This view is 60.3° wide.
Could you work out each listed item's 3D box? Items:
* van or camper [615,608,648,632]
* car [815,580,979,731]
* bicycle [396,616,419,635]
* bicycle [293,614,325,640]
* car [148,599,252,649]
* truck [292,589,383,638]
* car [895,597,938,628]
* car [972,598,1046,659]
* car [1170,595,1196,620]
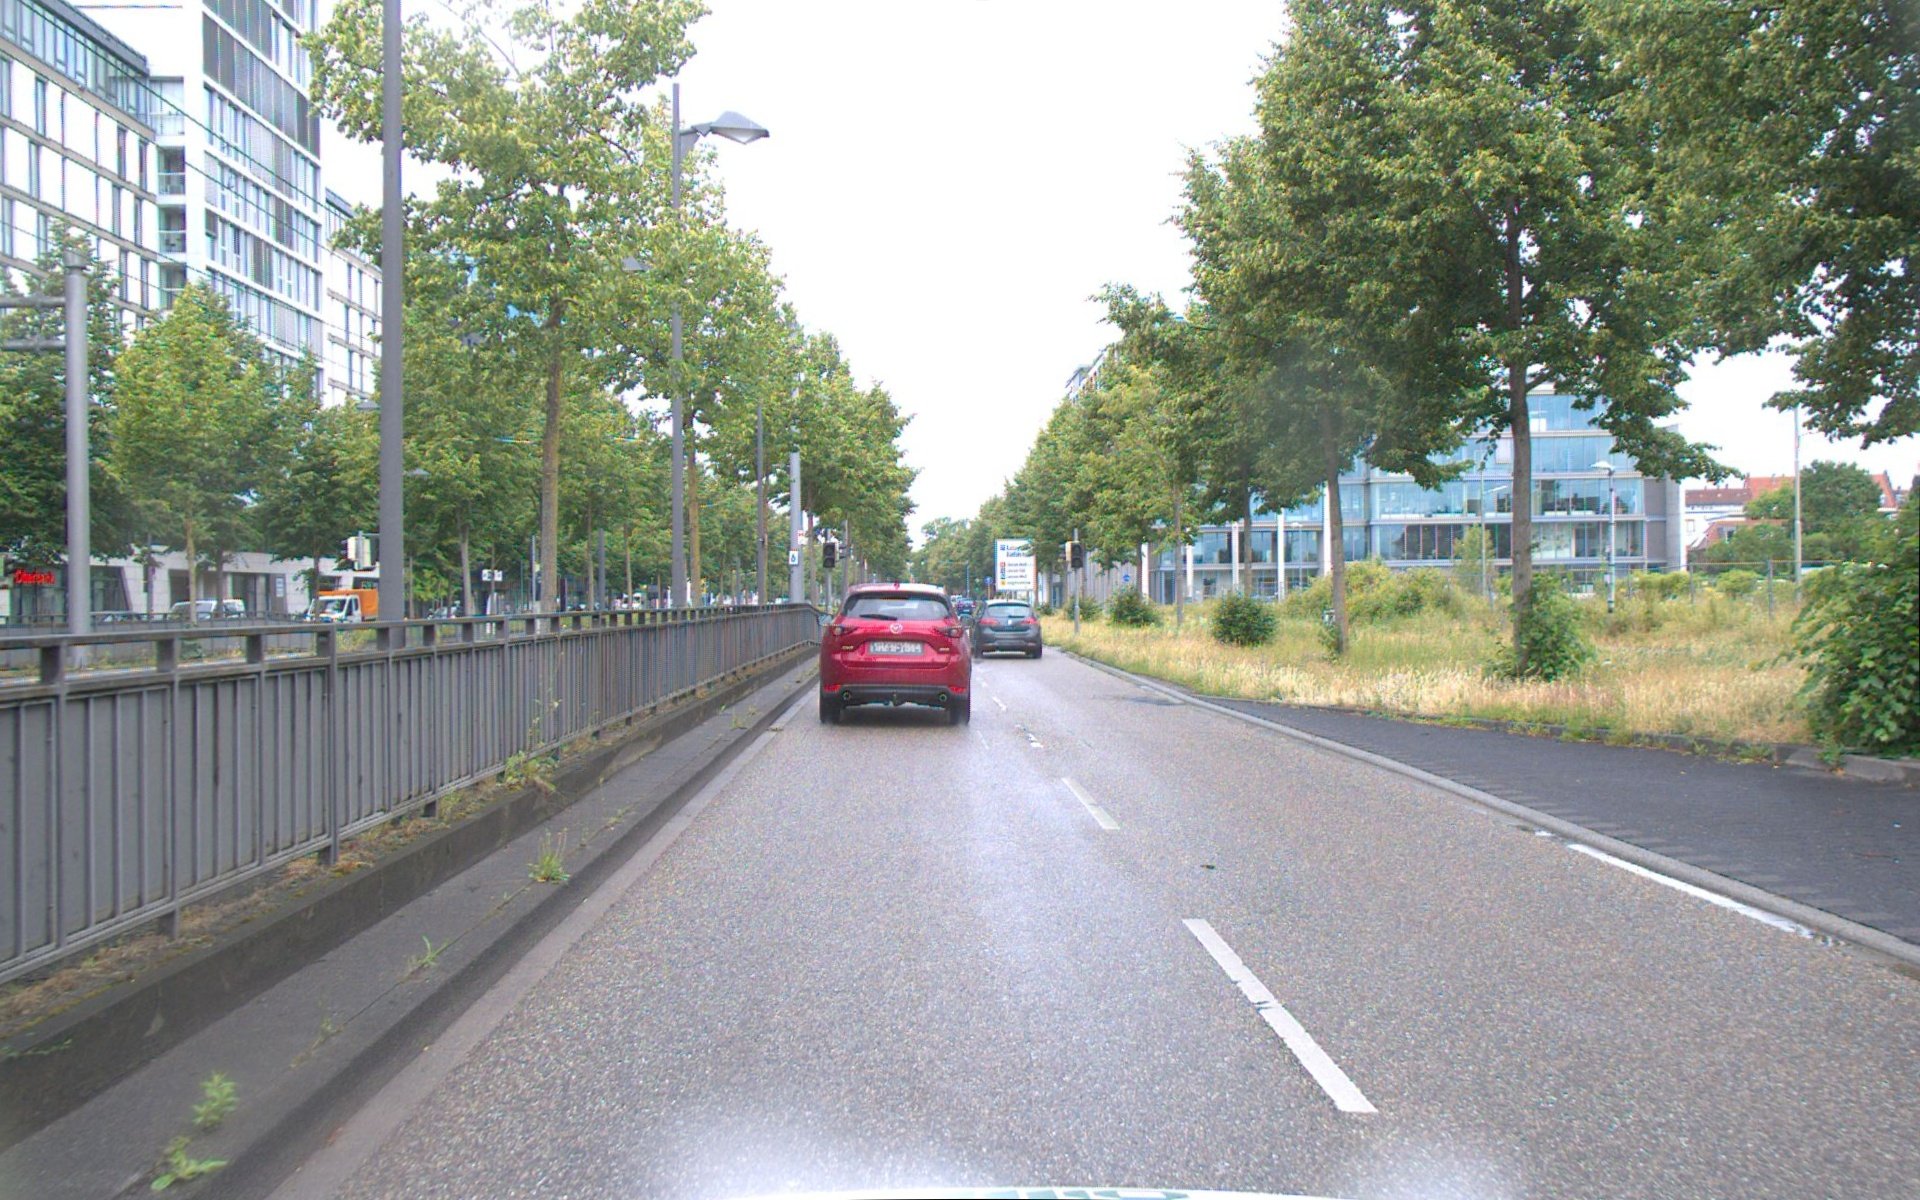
[{"bbox_3d":[-33.614,2.052,169.457,2.384,2.356,5.848,0,0,-2],"label":"van or camper"},{"bbox_3d":[-0.805,0.636,20.888,1.860,1.706,3.998,0,0,-3],"label":"car"},{"bbox_3d":[-29.109,1.339,87.117,0.586,0.962,1.757,-1,0,1],"label":"bicycle"},{"bbox_3d":[-40.377,1.671,102.590,1.669,1.565,0.681,0,0,-3],"label":"bicycle"},{"bbox_3d":[-30.441,0.925,66.453,1.953,1.884,5.162,-1,0,-2],"label":"car"},{"bbox_3d":[-31.279,0.659,83.292,2.378,2.332,6.306,-1,0,-2],"label":"truck"},{"bbox_3d":[-2.156,0.598,80.604,1.928,1.462,4.549,1,0,-3],"label":"car"},{"bbox_3d":[1.222,0.704,42.659,1.708,1.490,3.780,0,0,-2],"label":"car"},{"bbox_3d":[17.076,0.571,126.718,1.816,1.609,4.001,0,-5,5],"label":"car"}]
